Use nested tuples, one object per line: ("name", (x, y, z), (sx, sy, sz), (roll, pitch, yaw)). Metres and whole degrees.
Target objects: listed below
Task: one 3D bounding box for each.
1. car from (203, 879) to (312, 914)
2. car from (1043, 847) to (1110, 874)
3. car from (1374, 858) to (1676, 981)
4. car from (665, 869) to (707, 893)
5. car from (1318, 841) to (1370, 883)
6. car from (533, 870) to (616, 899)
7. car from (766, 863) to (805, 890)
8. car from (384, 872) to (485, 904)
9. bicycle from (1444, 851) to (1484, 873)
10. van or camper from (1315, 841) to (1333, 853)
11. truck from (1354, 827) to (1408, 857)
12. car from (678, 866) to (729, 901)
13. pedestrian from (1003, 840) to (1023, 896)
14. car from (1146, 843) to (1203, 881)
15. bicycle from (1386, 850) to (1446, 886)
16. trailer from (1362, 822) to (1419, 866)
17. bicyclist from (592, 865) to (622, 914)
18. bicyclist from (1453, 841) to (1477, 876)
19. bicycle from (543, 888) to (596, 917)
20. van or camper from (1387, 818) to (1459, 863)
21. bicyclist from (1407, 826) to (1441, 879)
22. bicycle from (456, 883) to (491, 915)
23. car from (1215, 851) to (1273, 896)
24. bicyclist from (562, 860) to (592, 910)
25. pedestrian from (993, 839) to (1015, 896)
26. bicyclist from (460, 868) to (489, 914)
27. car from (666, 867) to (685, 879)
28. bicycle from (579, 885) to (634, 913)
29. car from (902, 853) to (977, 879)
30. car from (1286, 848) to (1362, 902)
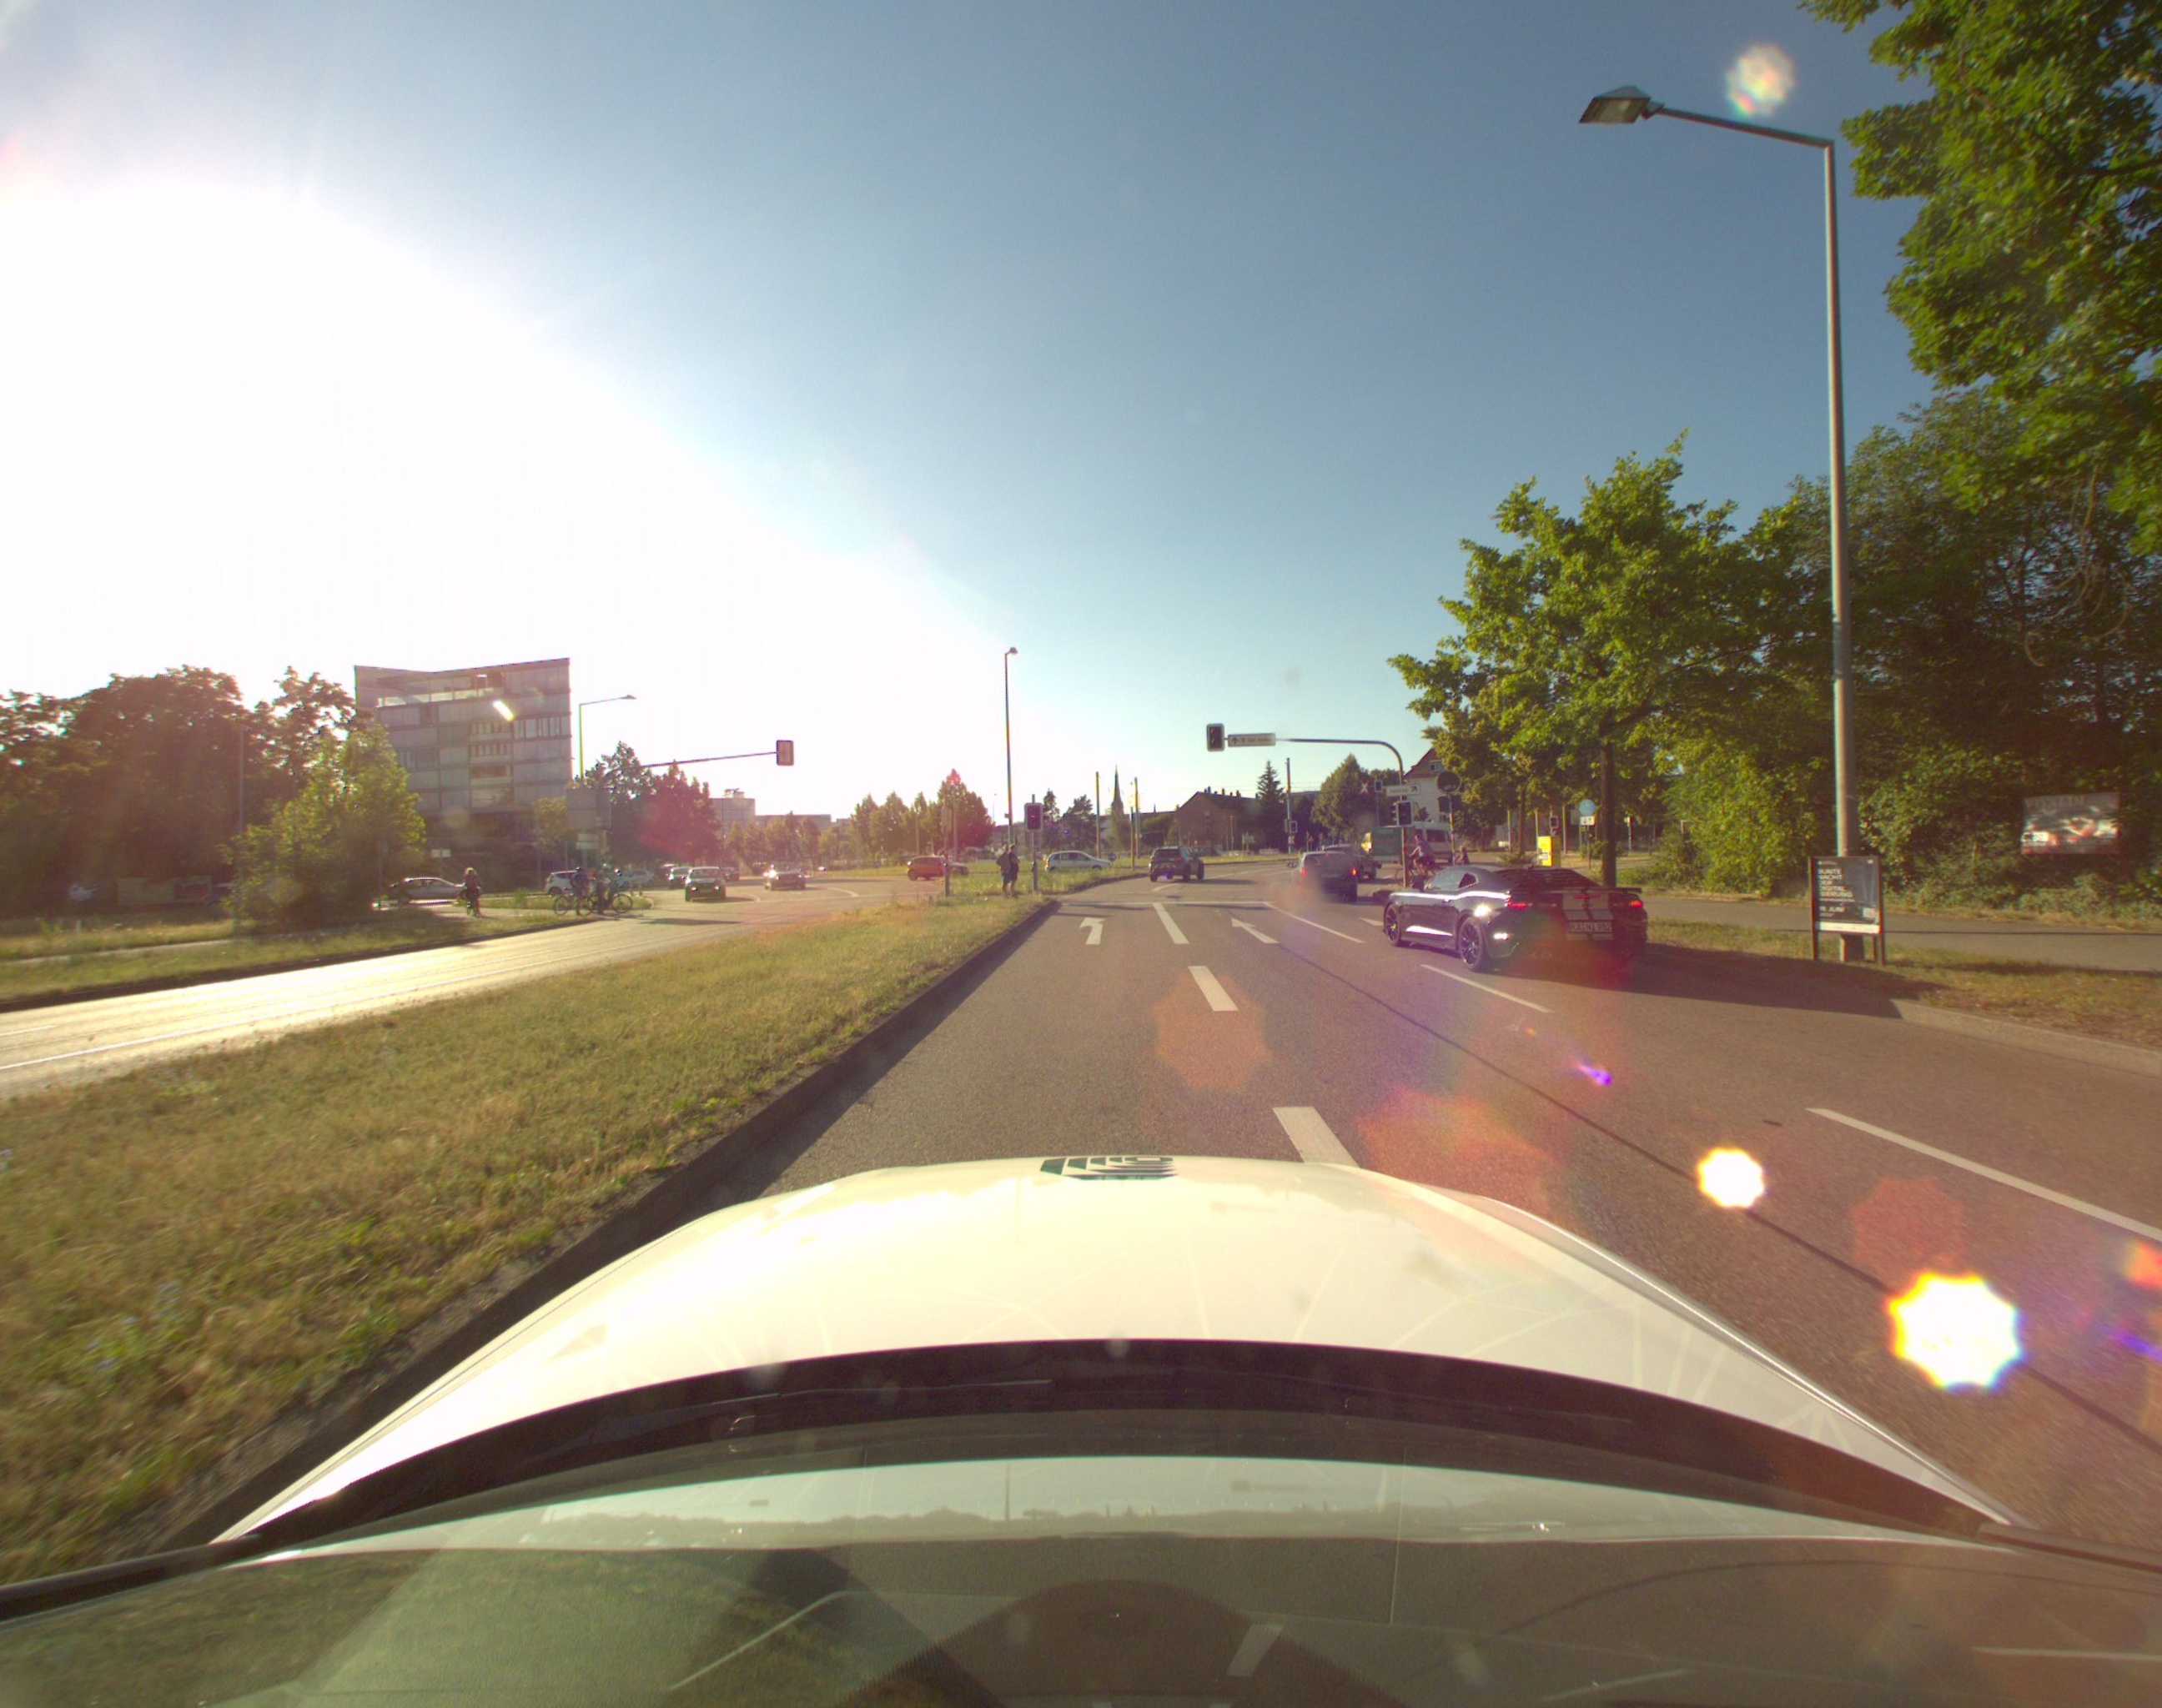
("car", (-41.880, 2.109, 41.552), (3.728, 1.508, 1.853), (-2, 0, -40))
("car", (-0.236, 0.373, 47.893), (3.728, 1.434, 1.839), (-2, 0, 6))
("car", (5.810, 0.744, 11.441), (1.847, 1.338, 4.627), (0, 0, 2))
("car", (-25.589, 1.723, 52.732), (1.681, 1.376, 3.735), (-3, 0, -38))
("car", (11.528, 0.298, 35.536), (1.731, 1.620, 3.842), (0, 2, 24))
("car", (-30.530, 1.794, 49.215), (3.983, 1.508, 1.833), (-2, 0, -25))
("car", (-16.583, 1.235, 45.606), (1.675, 1.376, 4.115), (-3, 0, -25))
("car", (-36.301, 1.876, 45.802), (4.331, 1.508, 1.853), (-2, 0, -40))
("bicycle", (14.705, 0.309, 31.276), (1.462, 0.786, 0.437), (-3, 0, -15))
("van or camper", (47.632, -1.407, 159.668), (2.073, 2.154, 4.452), (-2, 0, 34))
("truck", (27.101, -1.035, 73.856), (2.571, 2.558, 6.253), (-2, 0, 1))
("car", (-17.437, 1.315, 37.524), (1.678, 1.441, 3.579), (-3, 0, -32))
("pedestrian", (-2.291, 0.458, 27.427), (0.483, 1.844, 0.673), (-2, 0, 6))
("car", (4.491, 0.342, 38.672), (1.890, 1.660, 4.018), (-2, 0, 17))
("bicycle", (12.411, 0.517, 30.227), (1.885, 1.244, 0.613), (-4, -1, 39))
("trailer", (17.587, -0.564, 46.179), (2.070, 2.400, 3.523), (0, 0, 38))
("bicyclist", (-17.849, 1.327, 30.669), (0.808, 1.789, 0.498), (0, 0, 10))
("bicyclist", (14.738, 0.165, 31.281), (0.650, 1.294, 0.464), (-3, 1, -15))
("bicycle", (-18.495, 1.734, 29.414), (1.893, 1.019, 0.507), (-1, 0, 18))
("van or camper", (21.472, -0.829, 50.913), (2.263, 2.629, 6.624), (0, 0, 40))
("bicyclist", (12.631, -0.047, 30.033), (0.927, 1.899, 0.605), (-4, -1, 39))
("bicycle", (-22.805, 1.678, 30.555), (1.800, 1.118, 0.730), (-2, -1, 42))
("car", (6.255, 0.706, 31.617), (1.595, 1.610, 4.003), (-2, 0, 3))
("bicyclist", (-18.134, 1.109, 29.307), (0.806, 1.770, 0.498), (-1, 0, 17))
("pedestrian", (-2.508, 0.436, 26.495), (0.483, 1.844, 0.721), (-1, 0, 11))
("bicyclist", (-22.684, 1.381, 30.448), (0.820, 1.666, 0.714), (-2, 0, 43))
("car", (-72.426, 3.328, 145.529), (2.011, 2.013, 3.952), (-2, 0, -41))
("bicycle", (-17.869, 1.707, 30.667), (1.897, 1.019, 0.506), (-1, 0, 9))
("car", (-8.672, 0.739, 49.869), (4.090, 1.444, 1.919), (-2, 0, 21))
("car", (7.367, 0.574, 24.987), (1.737, 1.473, 3.830), (-2, 0, 9))
